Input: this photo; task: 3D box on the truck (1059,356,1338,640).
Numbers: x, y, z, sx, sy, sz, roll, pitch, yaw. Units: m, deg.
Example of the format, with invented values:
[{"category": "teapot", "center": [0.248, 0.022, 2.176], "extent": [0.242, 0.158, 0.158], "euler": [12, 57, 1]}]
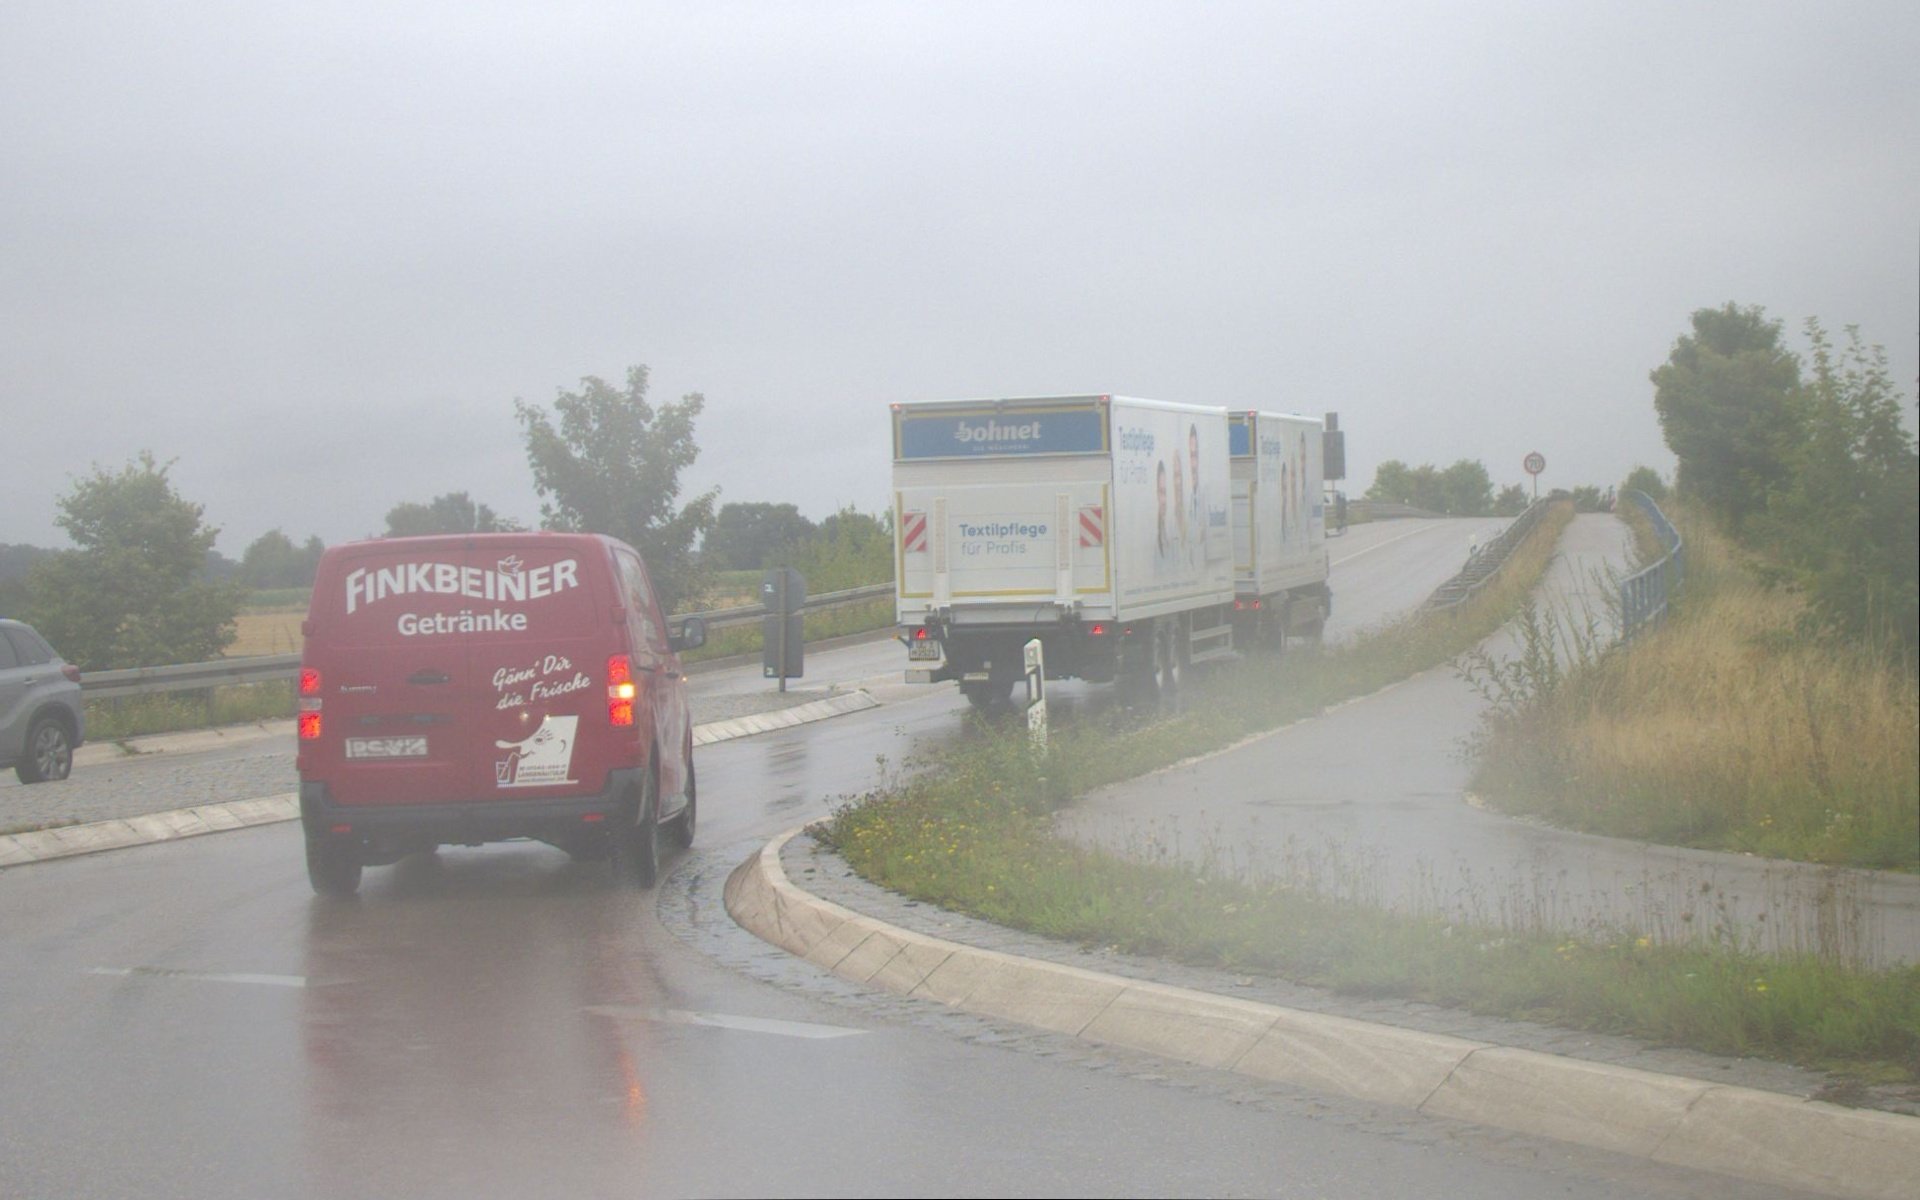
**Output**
[{"category": "truck", "center": [3.683, -1.508, 51.075], "extent": [2.801, 3.806, 7.685], "euler": [-2, 1, 13]}]

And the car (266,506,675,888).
[{"category": "car", "center": [-2.792, 0.434, 20.110], "extent": [1.993, 1.864, 4.980], "euler": [-3, 2, -7]}]

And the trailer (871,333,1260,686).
[{"category": "trailer", "center": [1.560, -1.126, 42.683], "extent": [2.833, 3.806, 9.709], "euler": [-2, 1, 13]}]

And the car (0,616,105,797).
[{"category": "car", "center": [-9.494, 0.966, 30.059], "extent": [1.803, 1.569, 3.995], "euler": [-1, 1, 24]}]
